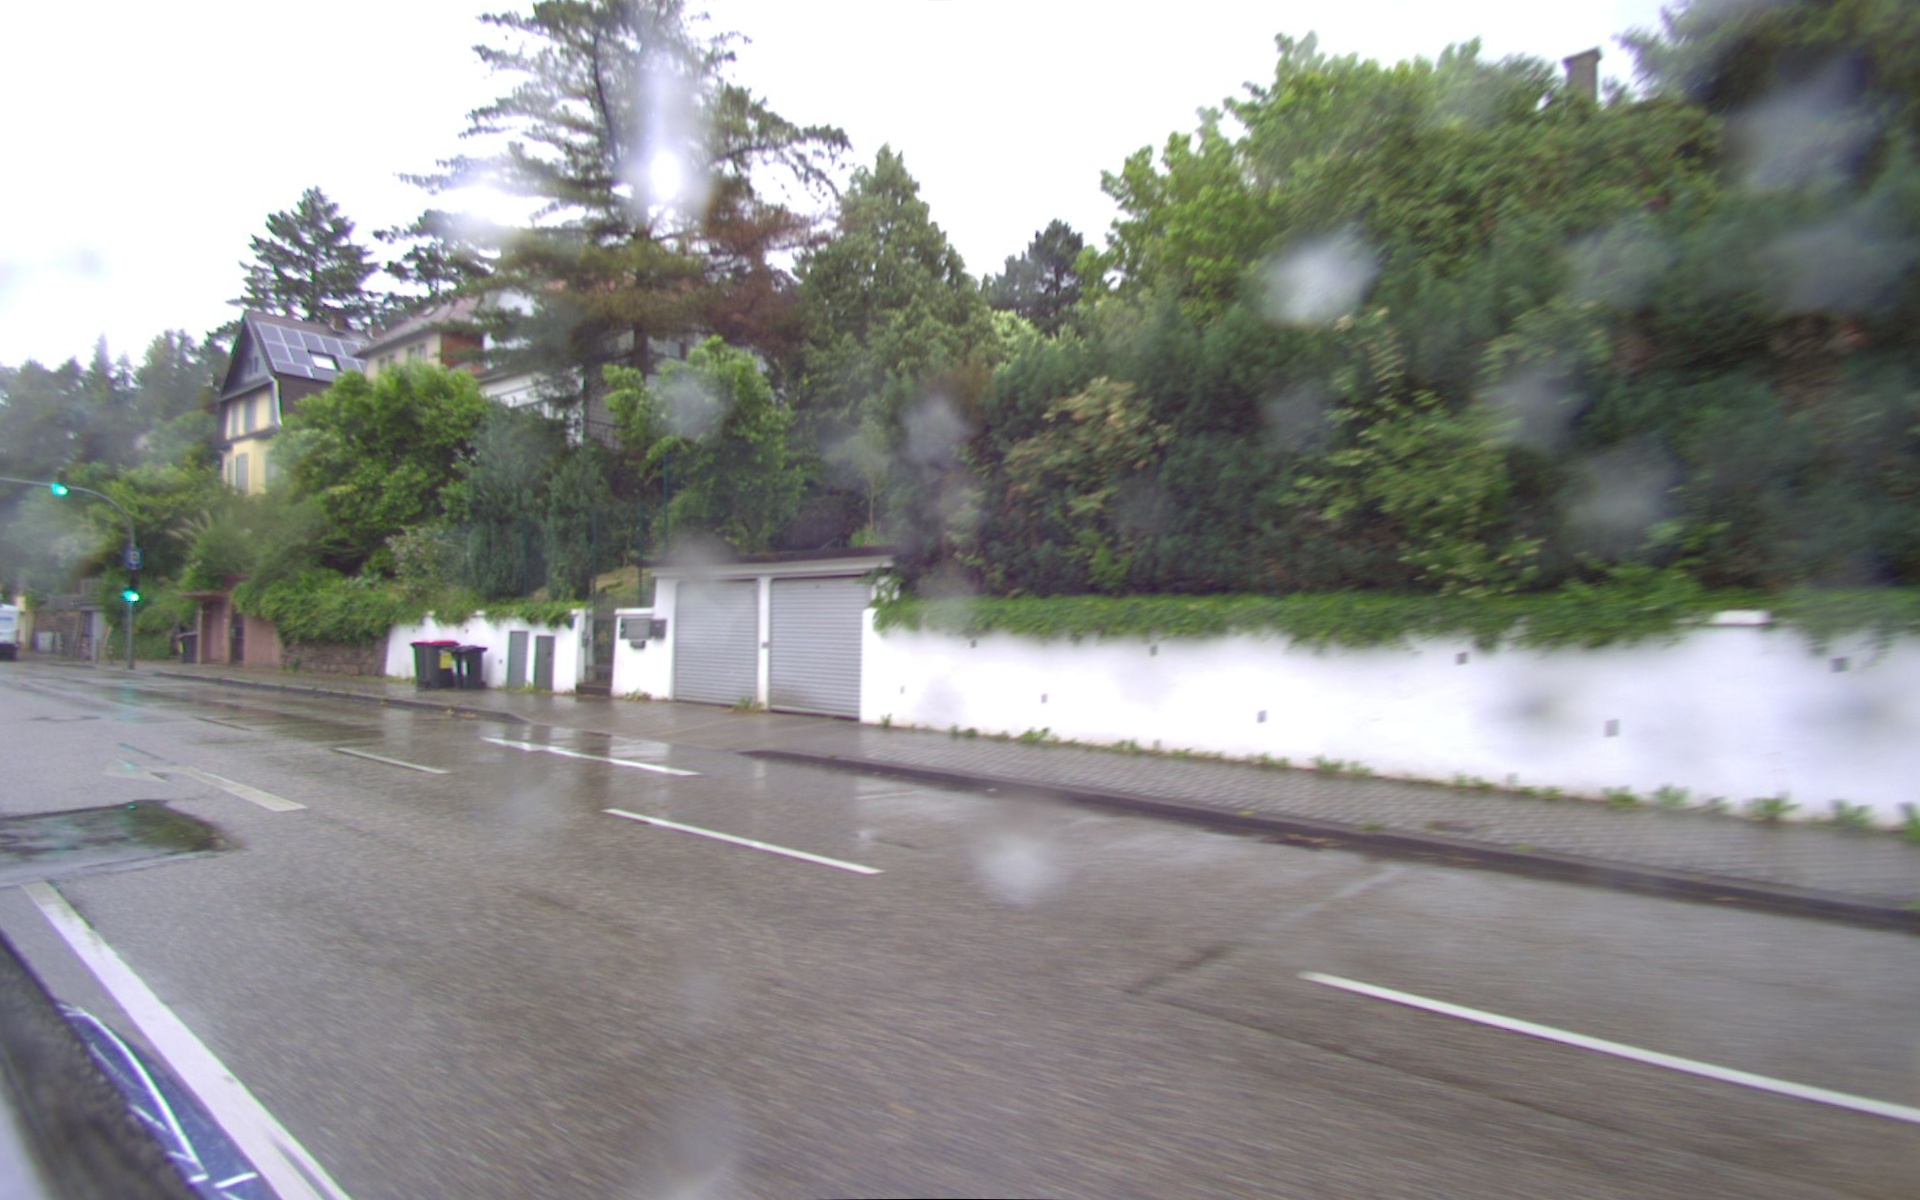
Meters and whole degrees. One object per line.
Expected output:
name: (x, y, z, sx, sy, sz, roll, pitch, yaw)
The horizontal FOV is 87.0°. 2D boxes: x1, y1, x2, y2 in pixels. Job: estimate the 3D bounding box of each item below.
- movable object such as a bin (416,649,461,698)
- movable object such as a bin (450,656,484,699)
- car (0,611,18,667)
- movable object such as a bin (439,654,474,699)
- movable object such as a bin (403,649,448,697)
movable object such as a bin: (-11.559, 1.614, 22.420, 0.656, 1.048, 0.674, -1, -2, 38)
movable object such as a bin: (-10.563, 1.654, 21.699, 0.416, 0.905, 0.526, -1, -2, 38)
car: (-45.139, 1.727, 46.362, 4.848, 2.497, 2.059, -1, -6, 39)
movable object such as a bin: (-10.927, 1.651, 21.971, 0.416, 0.947, 0.537, -1, -2, 38)
movable object such as a bin: (-12.112, 1.649, 22.931, 0.656, 1.048, 0.674, -1, -2, 38)
